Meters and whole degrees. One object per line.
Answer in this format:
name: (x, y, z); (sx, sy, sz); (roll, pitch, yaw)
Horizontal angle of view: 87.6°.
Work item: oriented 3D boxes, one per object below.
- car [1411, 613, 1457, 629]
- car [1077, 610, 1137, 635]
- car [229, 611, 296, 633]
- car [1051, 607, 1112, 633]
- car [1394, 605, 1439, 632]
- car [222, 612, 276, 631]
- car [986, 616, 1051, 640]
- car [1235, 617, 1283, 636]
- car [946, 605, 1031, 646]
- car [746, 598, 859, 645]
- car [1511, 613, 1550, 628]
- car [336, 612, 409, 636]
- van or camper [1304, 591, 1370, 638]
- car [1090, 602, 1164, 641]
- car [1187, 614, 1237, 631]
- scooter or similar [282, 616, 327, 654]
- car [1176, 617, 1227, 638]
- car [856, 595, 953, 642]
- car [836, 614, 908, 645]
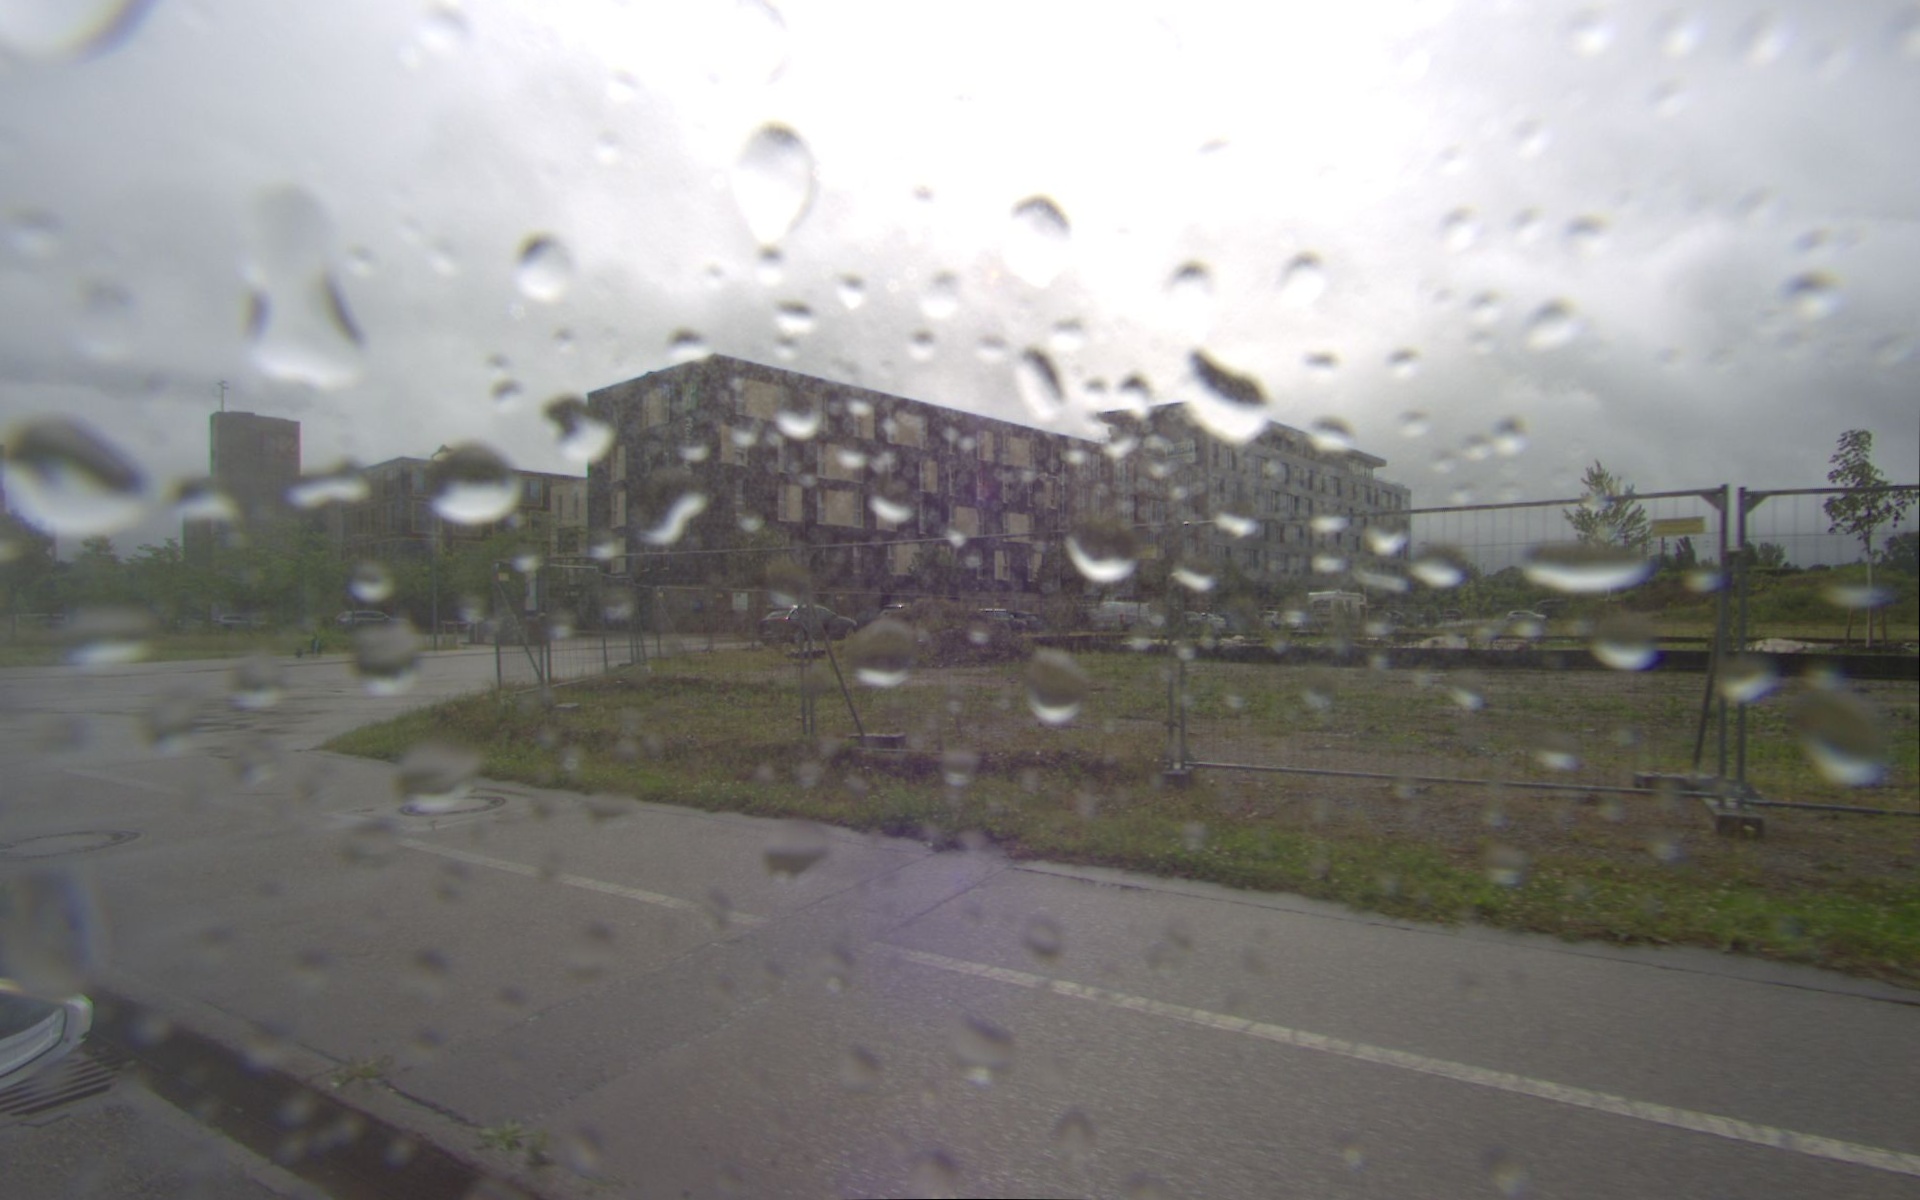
car: (53.386, 2.369, 112.890); (4.324, 1.708, 1.785); (-1, -4, 44)
car: (10.432, 1.583, 71.209); (3.798, 1.635, 1.773); (-1, -4, 41)
car: (-60.137, 1.878, 86.356); (1.980, 1.785, 4.515); (0, -1, 45)
car: (8.337, 1.352, 68.645); (3.798, 1.635, 1.773); (-1, -4, 41)
car: (39.273, 1.591, 86.163); (1.980, 2.038, 4.770); (-1, -4, 45)
car: (-67.060, 2.057, 94.429); (3.962, 1.743, 1.751); (1, -1, -45)
car: (3.719, 1.752, 64.011); (3.798, 1.412, 1.773); (-1, -4, 41)
car: (27.587, 2.402, 92.461); (3.798, 1.635, 1.773); (-1, -4, 41)
car: (1.370, 1.208, 46.789); (1.975, 1.661, 3.976); (0, -4, 38)
car: (-5.948, 0.824, 38.114); (1.976, 1.638, 3.972); (-4, -3, 37)
car: (68.599, 2.504, 120.342); (3.946, 1.750, 1.988); (-1, -1, 35)
car: (-41.530, 1.657, 70.872); (1.650, 1.578, 4.179); (-1, 0, 45)
van or camper: (29.505, 1.171, 78.223); (2.501, 3.240, 6.750); (0, -4, 42)
car: (9.317, 1.228, 55.714); (1.978, 1.793, 4.307); (0, -6, 42)
car: (21.308, 1.880, 84.695); (3.859, 1.312, 1.541); (-1, -4, 41)
scooter or similar: (-21.944, 1.165, 33.528); (0.493, 1.203, 1.283); (2, 1, 12)
car: (19.943, 2.263, 82.765); (3.798, 1.635, 1.538); (-1, -4, 41)
car: (-2.329, 0.818, 42.574); (1.975, 1.749, 3.976); (0, -4, 38)
car: (-4.864, 1.608, 55.033); (3.798, 1.546, 1.773); (-1, -4, 41)
